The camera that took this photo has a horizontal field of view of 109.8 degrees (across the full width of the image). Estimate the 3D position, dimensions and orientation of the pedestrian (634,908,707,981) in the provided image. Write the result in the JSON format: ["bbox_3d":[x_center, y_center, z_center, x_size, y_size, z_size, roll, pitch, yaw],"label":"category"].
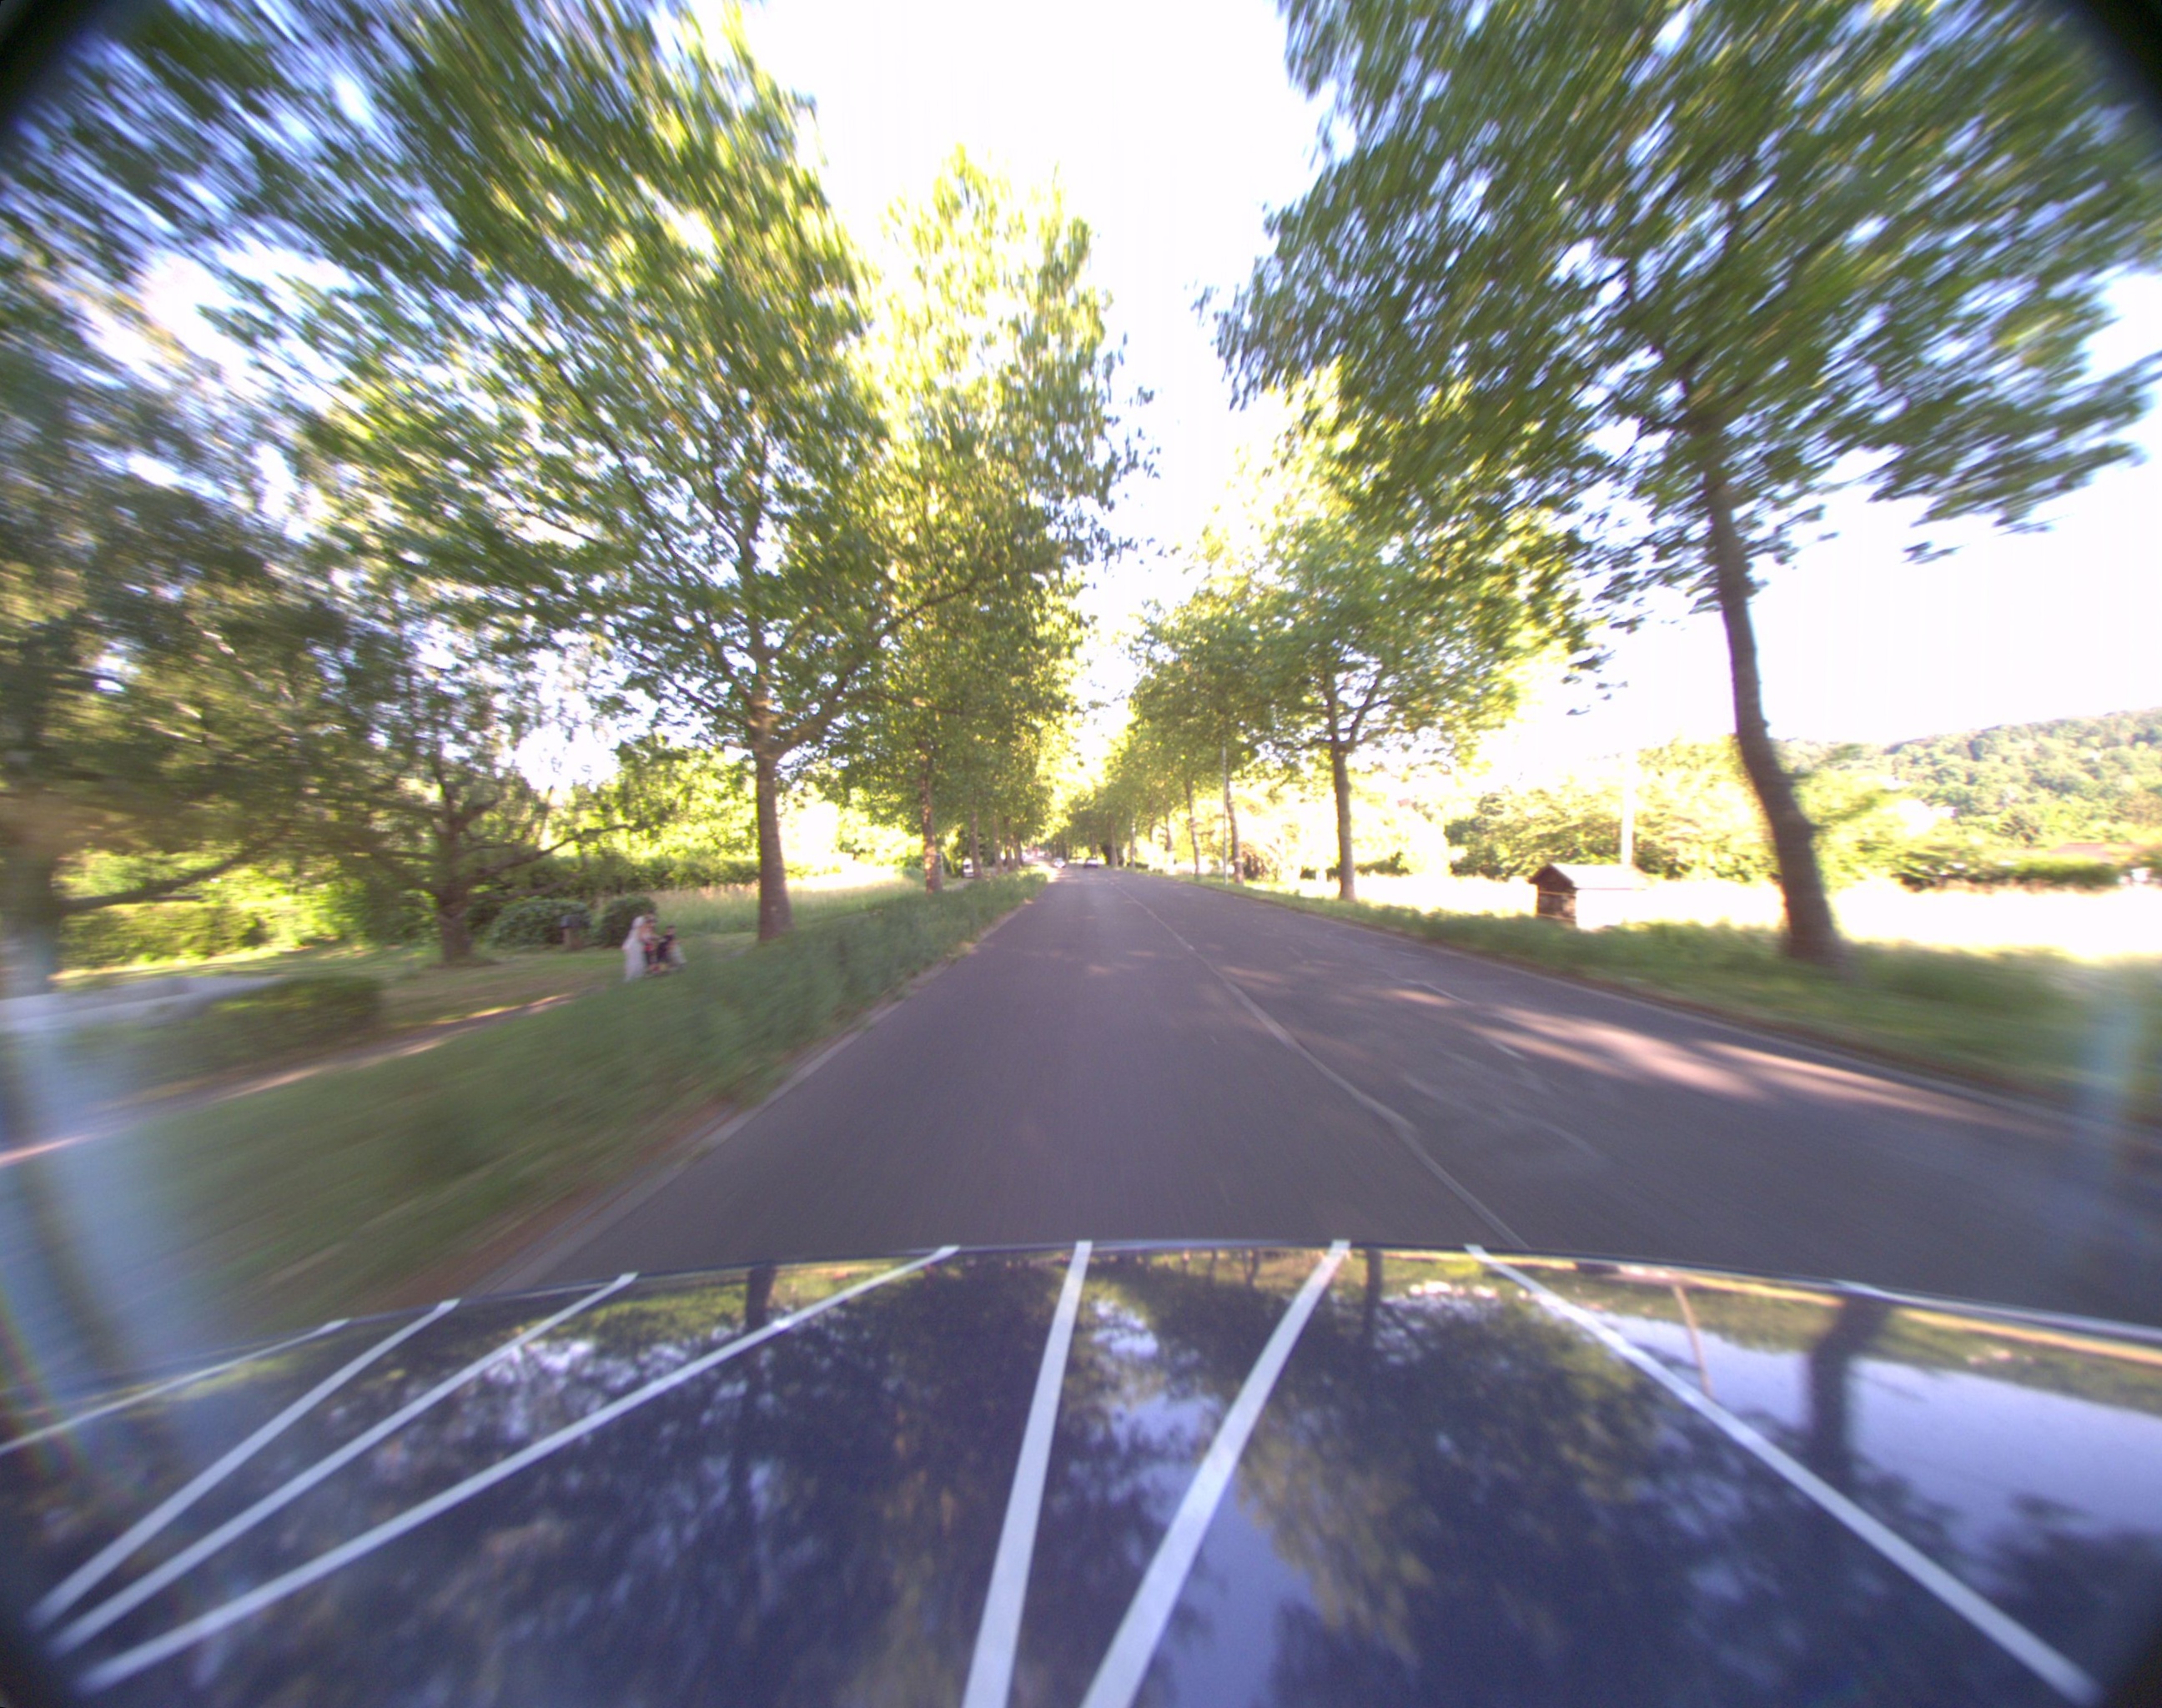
[{"bbox_3d":[-9.849,2.130,18.247,0.843,1.567,1.209,-1,1,30],"label":"pedestrian"}]

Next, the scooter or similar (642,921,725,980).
[{"bbox_3d":[-9.014,2.178,17.272,1.602,1.128,0.340,-3,2,-44],"label":"scooter or similar"}]

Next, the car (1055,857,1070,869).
[{"bbox_3d":[-2.724,1.256,111.761,1.999,1.655,3.999,-2,1,-2],"label":"car"}]

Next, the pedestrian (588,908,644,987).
[{"bbox_3d":[-10.115,1.996,16.528,0.846,1.567,0.782,-3,2,-42],"label":"pedestrian"}]

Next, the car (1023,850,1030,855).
[{"bbox_3d":[-18.285,-0.567,255.152,1.870,1.421,3.998,9,1,-2],"label":"car"}]

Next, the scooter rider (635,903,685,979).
[{"bbox_3d":[-9.479,1.930,17.115,0.846,1.567,0.782,-3,1,-36],"label":"scooter rider"}]

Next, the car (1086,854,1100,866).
[{"bbox_3d":[1.594,0.780,104.243,1.720,1.496,3.999,-2,1,-1],"label":"car"}]

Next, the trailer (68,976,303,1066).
[{"bbox_3d":[-13.211,2.450,11.275,2.122,1.046,1.201,-2,1,5],"label":"trailer"}]

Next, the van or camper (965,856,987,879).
[{"bbox_3d":[-14.159,1.801,102.516,2.387,2.783,5.683,-2,1,-3],"label":"van or camper"}]
